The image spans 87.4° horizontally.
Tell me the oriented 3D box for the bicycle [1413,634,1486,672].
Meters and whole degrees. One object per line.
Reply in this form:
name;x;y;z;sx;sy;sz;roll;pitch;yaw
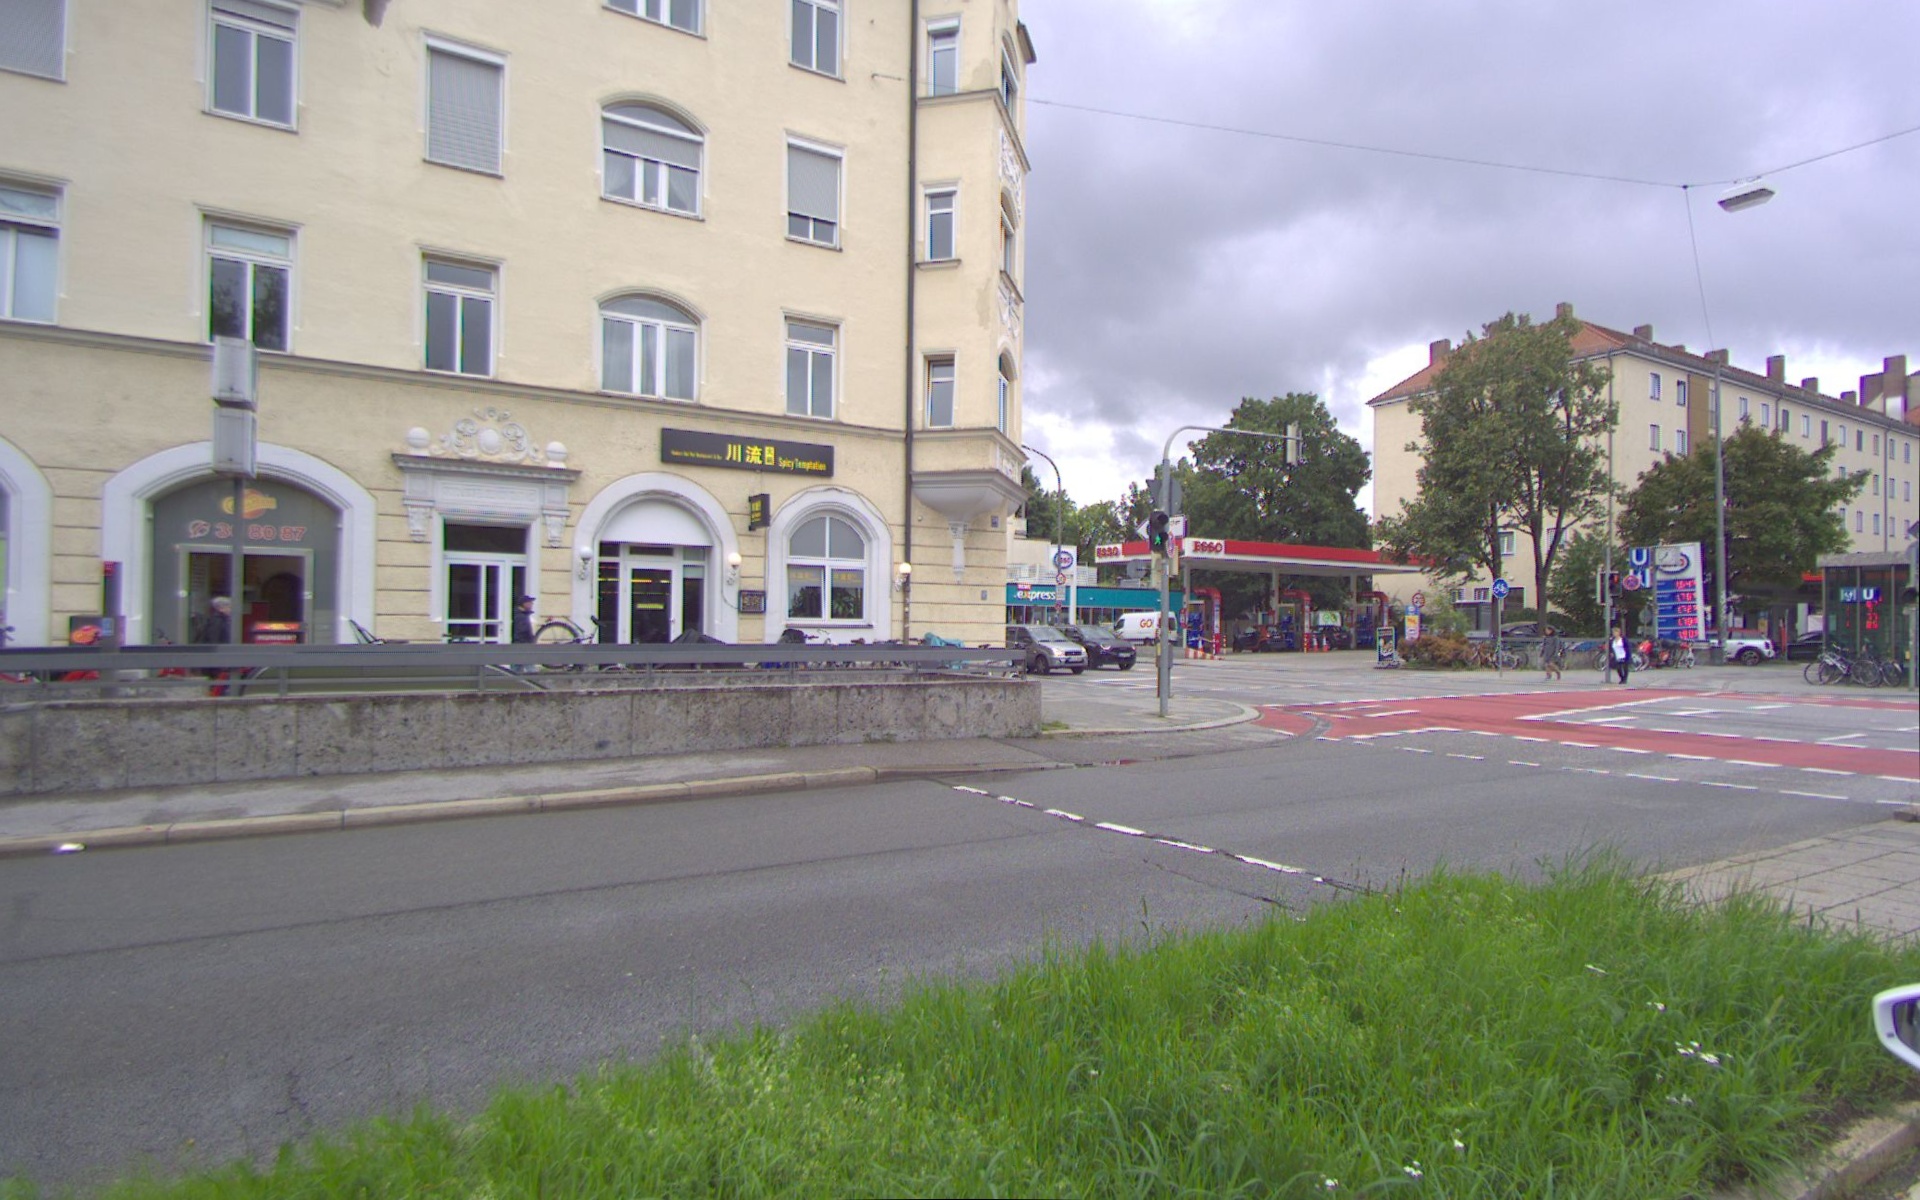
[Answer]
bicycle;16.944;1.808;34.819;0.760;1.252;2.161;1;-1;-41

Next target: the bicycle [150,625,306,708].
bicycle;-9.164;0.822;12.643;1.527;0.993;0.470;1;-1;-30

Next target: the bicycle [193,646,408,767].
bicycle;-6.707;1.045;10.284;1.798;1.130;0.392;1;-1;-39

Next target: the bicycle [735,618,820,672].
bicycle;-3.482;0.853;19.190;1.527;0.993;0.470;1;-1;-30

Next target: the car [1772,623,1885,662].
car;43.604;2.101;50.518;1.860;1.862;3.965;1;-1;-32

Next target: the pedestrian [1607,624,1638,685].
pedestrian;18.877;1.542;28.618;0.570;1.717;0.532;1;-1;-28

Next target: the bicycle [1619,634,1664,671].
bicycle;23.477;1.788;34.582;2.167;1.252;0.603;1;-1;-37

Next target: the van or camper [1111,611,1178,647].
van or camper;12.591;1.959;68.706;1.899;2.354;4.508;1;-1;-34

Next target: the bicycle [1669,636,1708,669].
bicycle;26.828;1.912;36.981;1.947;1.160;0.603;1;-1;-37

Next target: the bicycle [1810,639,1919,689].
bicycle;25.906;1.796;28.787;0.685;1.322;2.275;1;-1;-28

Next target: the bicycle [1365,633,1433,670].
bicycle;15.928;1.844;36.461;0.759;1.252;2.162;1;-1;-39

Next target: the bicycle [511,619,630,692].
bicycle;-5.546;0.777;14.336;1.527;0.993;0.470;1;-1;-30

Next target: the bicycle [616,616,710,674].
bicycle;-5.235;0.790;17.726;1.527;0.993;0.470;1;-1;-30

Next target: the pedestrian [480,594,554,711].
pedestrian;-6.737;0.785;15.278;0.935;1.719;0.588;1;-1;-32

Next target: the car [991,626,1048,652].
car;3.865;2.544;65.926;1.848;1.598;3.967;1;-1;-31

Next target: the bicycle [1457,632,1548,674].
bicycle;18.484;1.779;34.252;2.664;1.267;0.792;2;0;30

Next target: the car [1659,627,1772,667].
car;33.316;2.030;44.347;3.908;1.630;1.808;0;-1;41

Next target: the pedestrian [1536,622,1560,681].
pedestrian;17.501;1.531;29.905;0.581;1.717;0.576;0;-1;29

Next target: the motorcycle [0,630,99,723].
motorcycle;-12.494;0.978;13.241;1.947;1.137;0.610;1;-1;10

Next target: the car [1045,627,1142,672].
car;4.600;1.683;35.026;1.643;1.430;3.534;1;-1;-27

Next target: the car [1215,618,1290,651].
car;16.463;1.908;56.692;1.836;1.808;3.968;1;-1;-30

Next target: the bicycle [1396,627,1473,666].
bicycle;17.001;1.642;36.018;0.785;1.267;2.374;2;0;-40

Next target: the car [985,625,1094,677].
car;2.492;1.585;32.129;1.646;1.537;3.599;1;-1;-32

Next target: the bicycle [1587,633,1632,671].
bicycle;22.455;1.776;34.736;2.167;1.252;0.603;1;-1;-37

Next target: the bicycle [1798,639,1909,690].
bicycle;25.232;1.790;28.414;0.695;1.322;2.262;1;-1;-28

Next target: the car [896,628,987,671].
car;-0.746;1.791;37.269;1.643;1.430;4.299;1;-1;-27

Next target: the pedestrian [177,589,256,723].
pedestrian;-9.834;0.728;13.308;0.762;1.719;0.540;1;-1;-32

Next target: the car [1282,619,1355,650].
car;21.646;2.085;60.773;1.836;1.808;3.968;1;-1;-30
